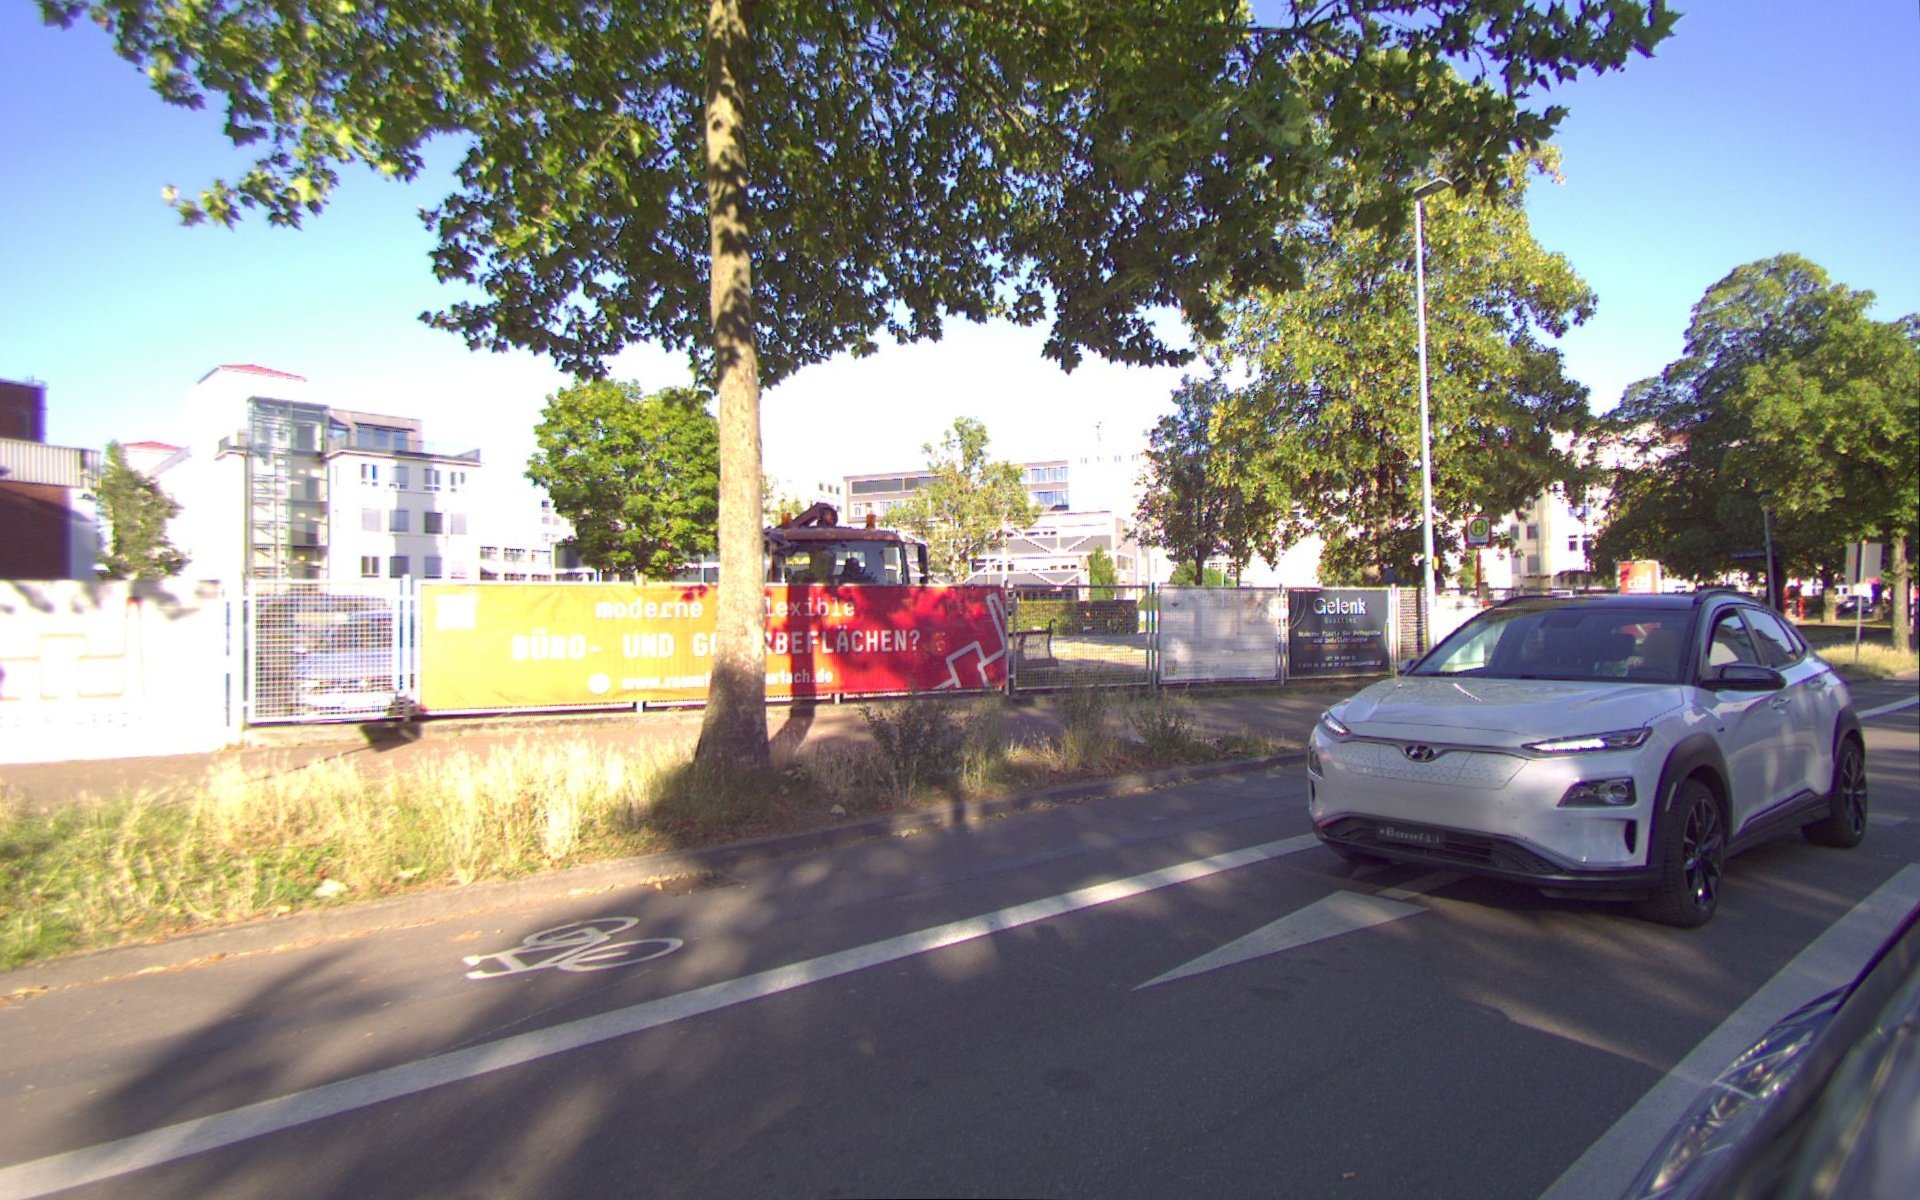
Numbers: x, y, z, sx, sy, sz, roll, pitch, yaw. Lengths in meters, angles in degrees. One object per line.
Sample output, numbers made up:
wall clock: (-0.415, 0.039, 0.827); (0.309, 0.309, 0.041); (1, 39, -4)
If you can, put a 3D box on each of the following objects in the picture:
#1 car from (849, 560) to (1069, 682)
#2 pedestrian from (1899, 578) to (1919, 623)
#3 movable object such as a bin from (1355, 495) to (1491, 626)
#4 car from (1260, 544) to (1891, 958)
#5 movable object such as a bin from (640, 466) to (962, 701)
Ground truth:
car: (-0.194, 0.352, 17.982); (2.001, 1.851, 4.611); (-2, -1, -27)
pedestrian: (37.559, 0.020, 39.967); (0.607, 1.759, 0.629); (-3, -1, 44)
movable object such as a bin: (21.368, -1.691, 47.160); (3.911, 5.548, 6.020); (-2, -1, 7)
car: (3.738, 0.655, 5.931); (3.892, 1.618, 1.893); (2, -3, -38)
movable object such as a bin: (-2.951, -0.182, 16.793); (3.154, 3.088, 6.294); (-1, -1, -30)
